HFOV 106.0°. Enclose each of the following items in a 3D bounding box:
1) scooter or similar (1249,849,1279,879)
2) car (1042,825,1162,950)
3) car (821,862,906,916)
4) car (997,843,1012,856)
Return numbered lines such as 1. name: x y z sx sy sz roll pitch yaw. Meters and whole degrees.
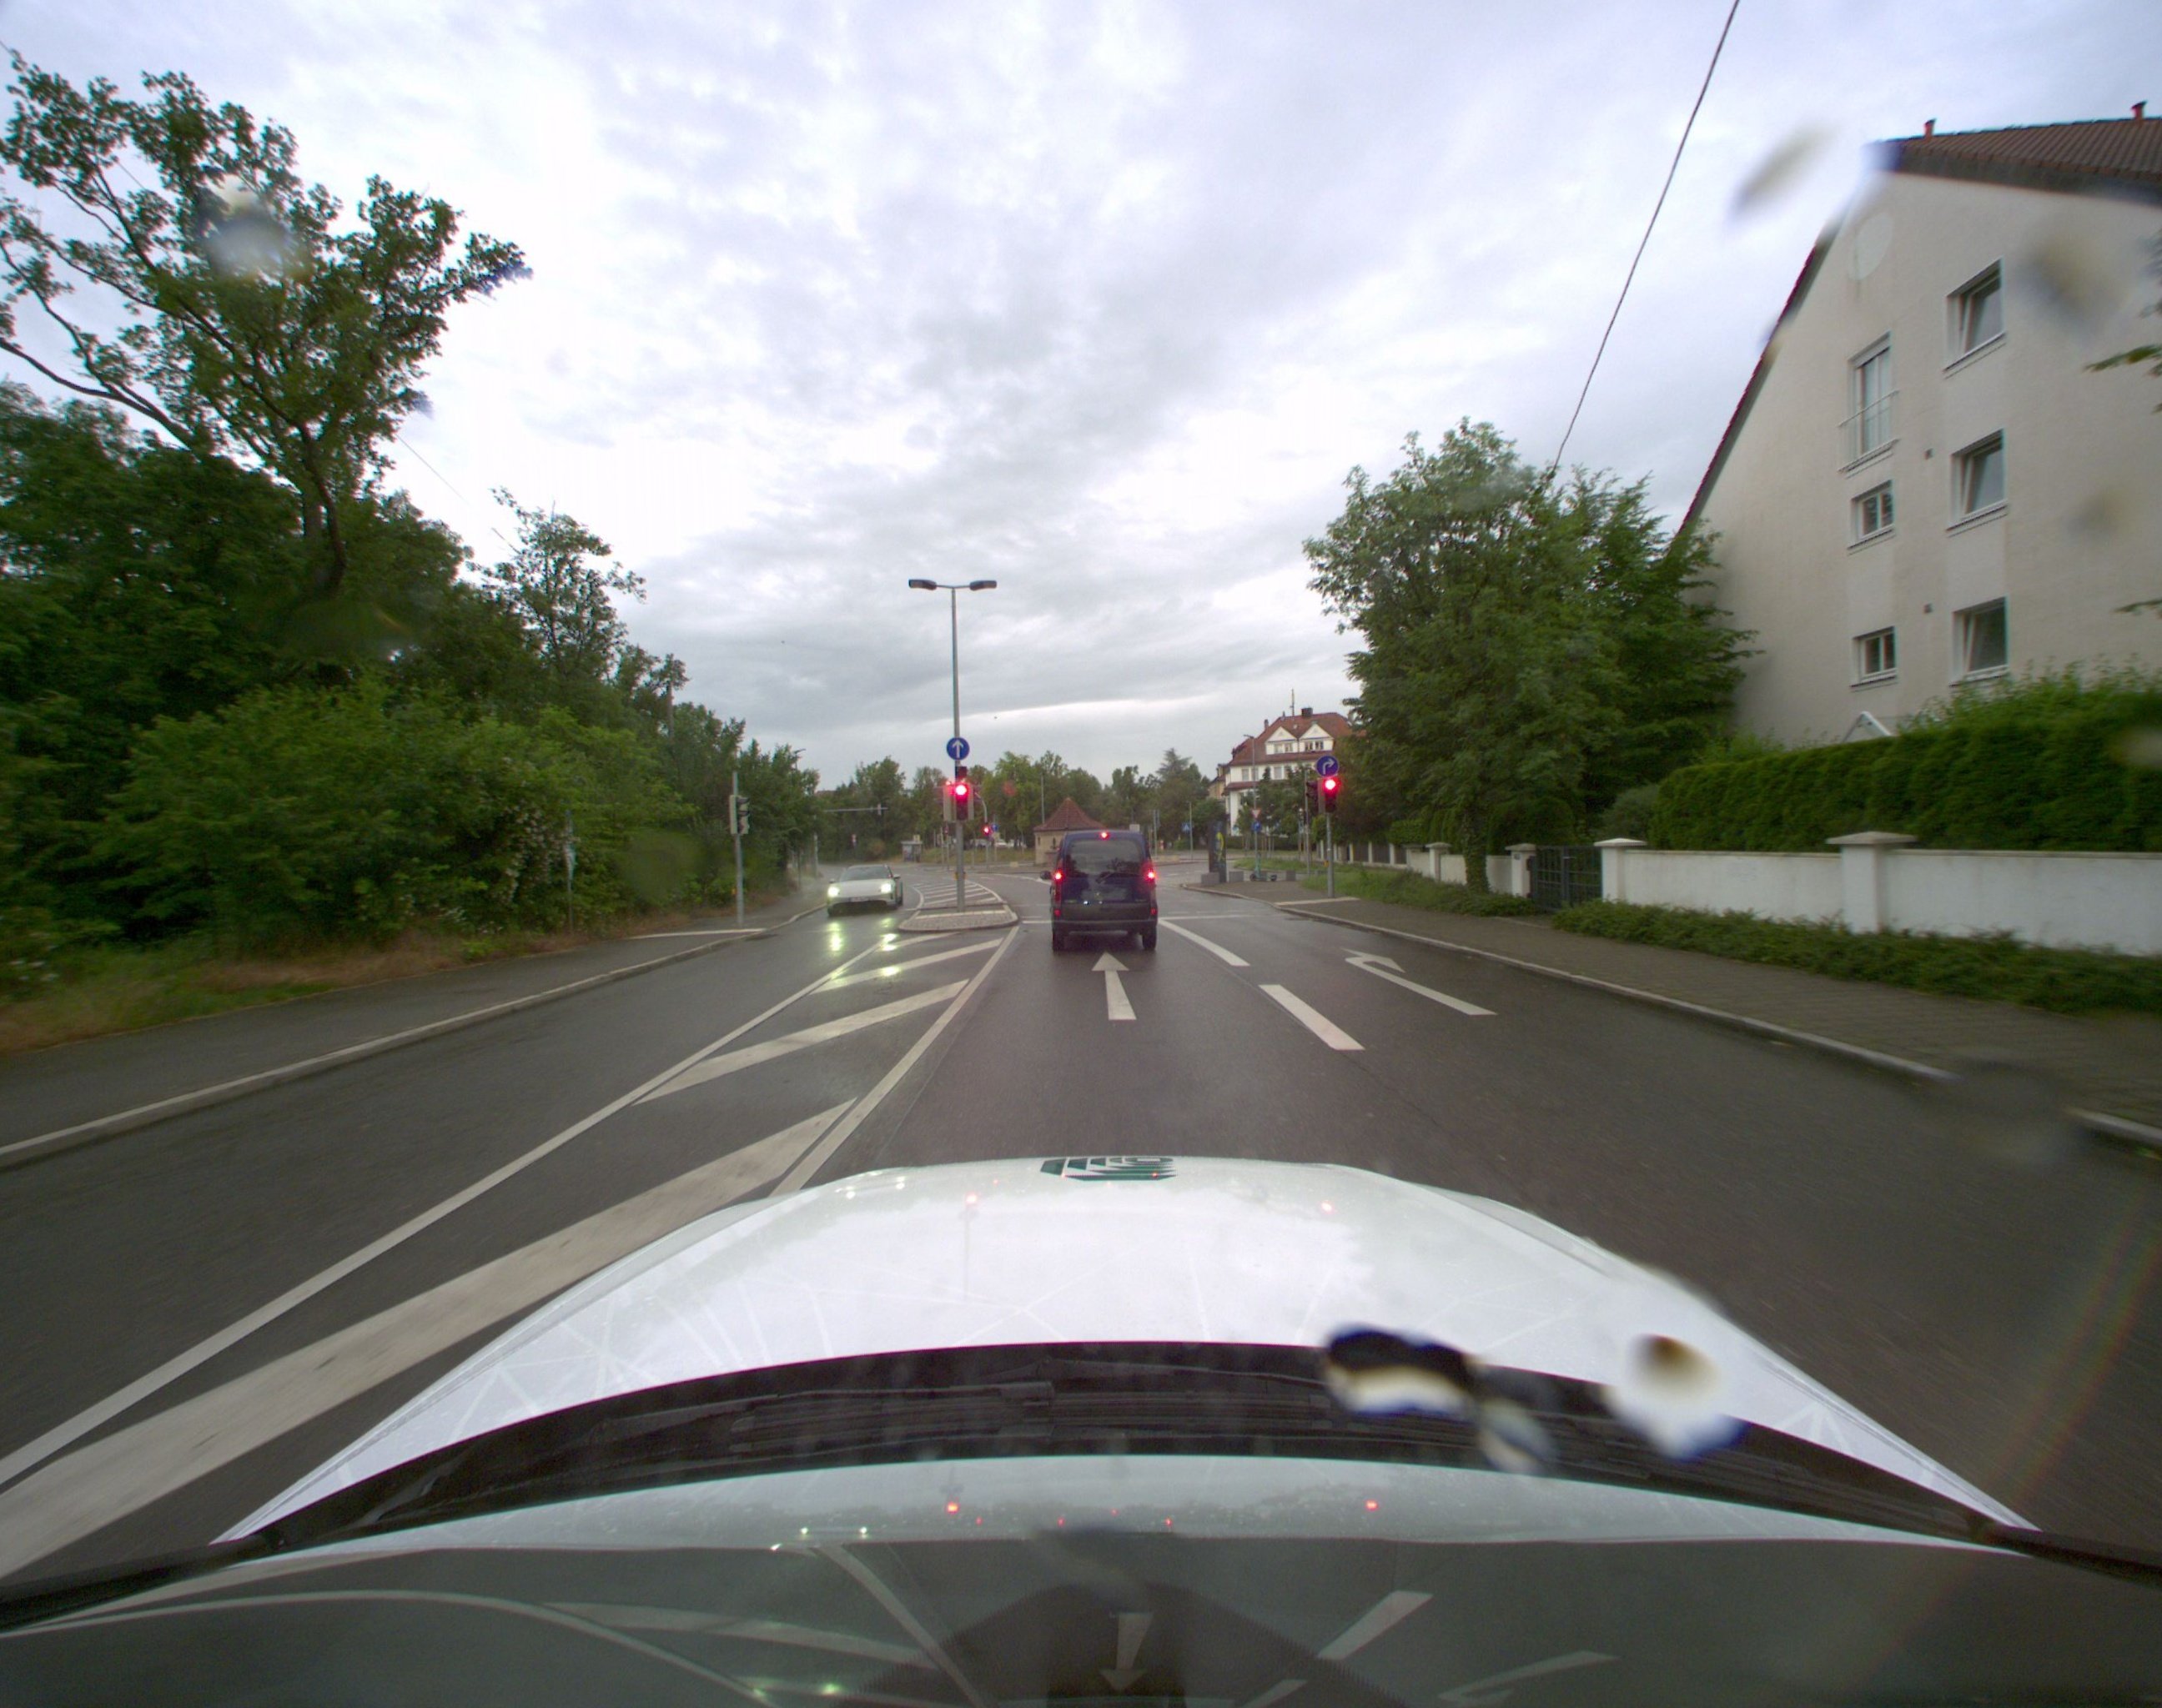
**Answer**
1. scooter or similar: 7.723 0.435 34.333 1.145 1.219 0.406 -2 -1 0
2. car: 0.280 0.470 13.882 1.727 1.786 3.998 -1 0 -1
3. car: -6.549 0.989 24.946 1.993 1.311 4.345 -4 1 -9
4. car: -10.961 -0.633 116.724 1.989 1.812 3.996 -1 -1 -3
